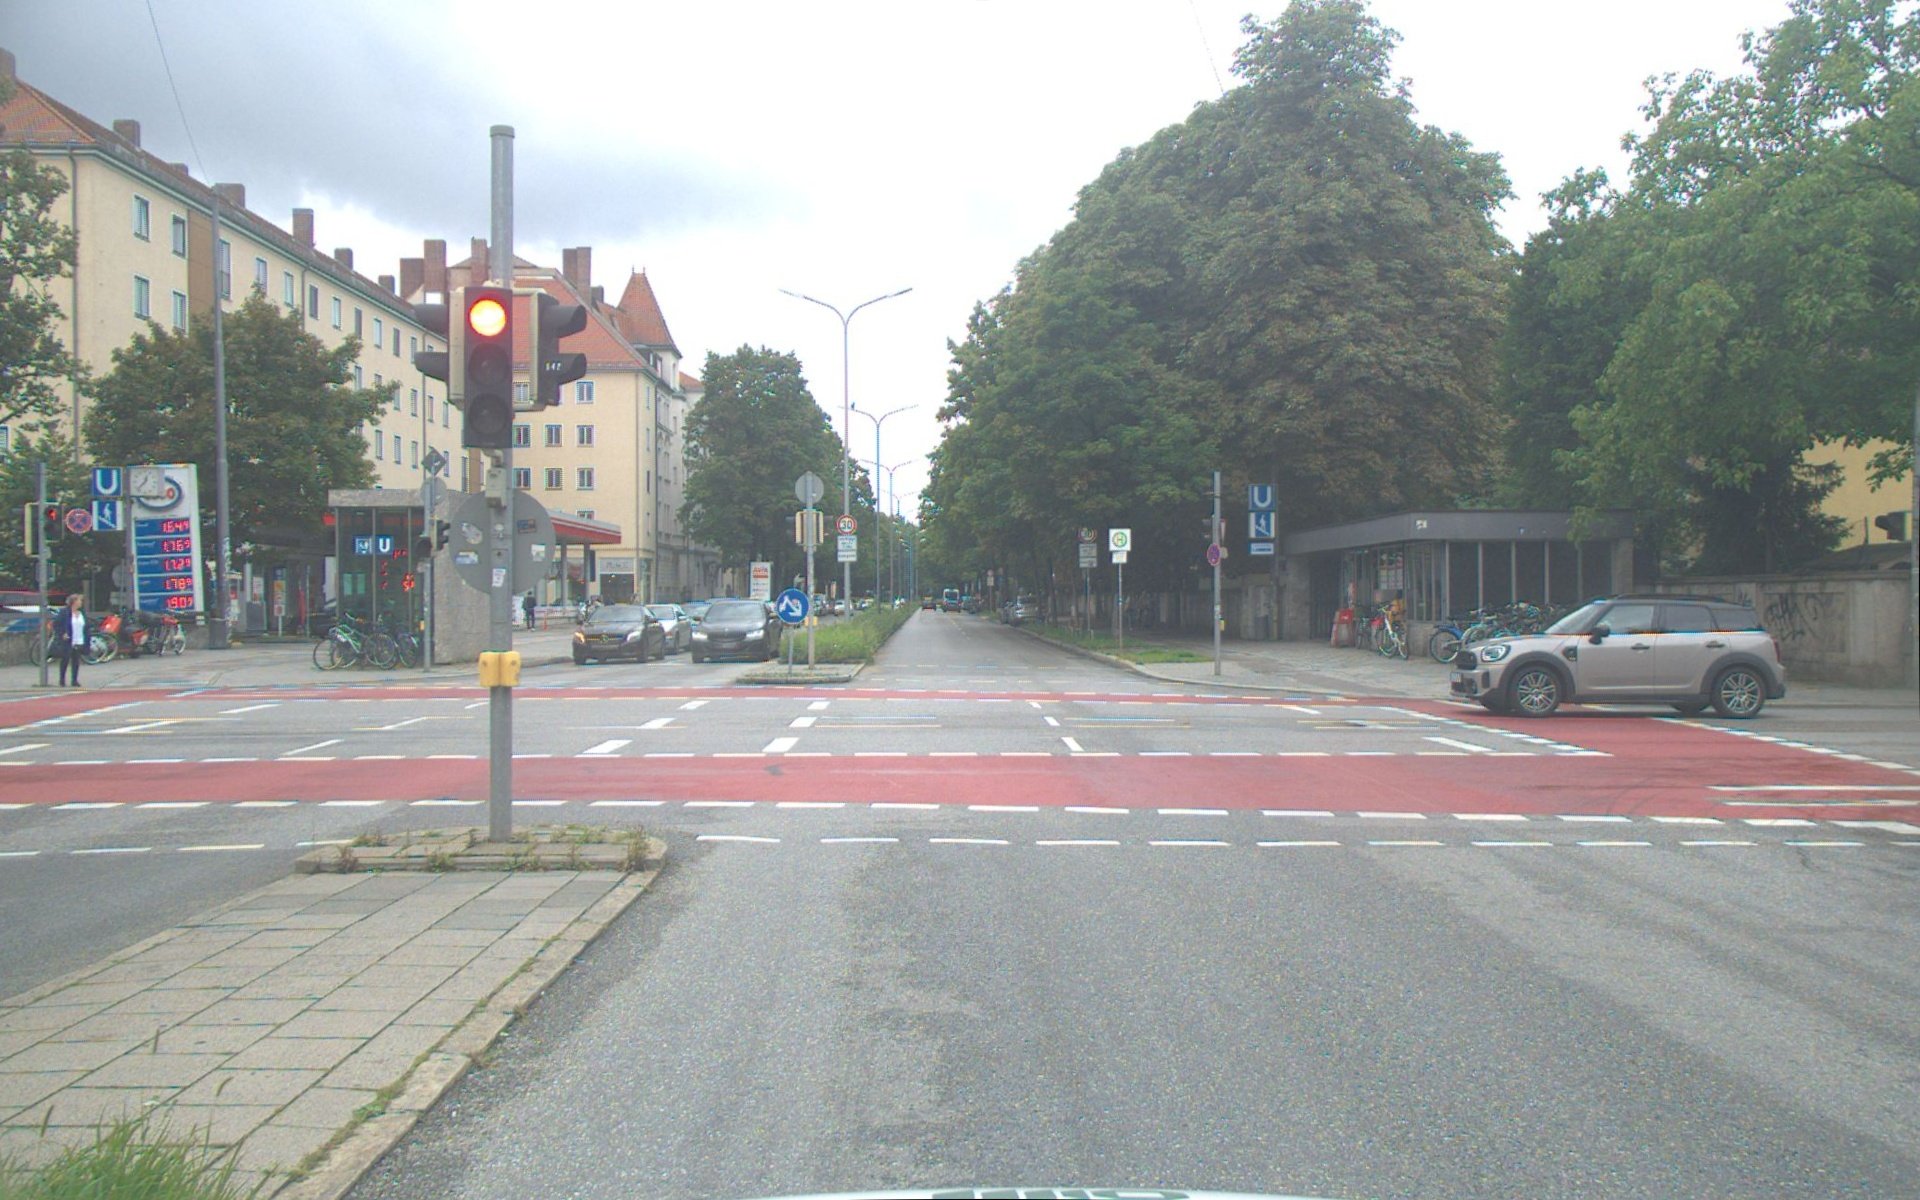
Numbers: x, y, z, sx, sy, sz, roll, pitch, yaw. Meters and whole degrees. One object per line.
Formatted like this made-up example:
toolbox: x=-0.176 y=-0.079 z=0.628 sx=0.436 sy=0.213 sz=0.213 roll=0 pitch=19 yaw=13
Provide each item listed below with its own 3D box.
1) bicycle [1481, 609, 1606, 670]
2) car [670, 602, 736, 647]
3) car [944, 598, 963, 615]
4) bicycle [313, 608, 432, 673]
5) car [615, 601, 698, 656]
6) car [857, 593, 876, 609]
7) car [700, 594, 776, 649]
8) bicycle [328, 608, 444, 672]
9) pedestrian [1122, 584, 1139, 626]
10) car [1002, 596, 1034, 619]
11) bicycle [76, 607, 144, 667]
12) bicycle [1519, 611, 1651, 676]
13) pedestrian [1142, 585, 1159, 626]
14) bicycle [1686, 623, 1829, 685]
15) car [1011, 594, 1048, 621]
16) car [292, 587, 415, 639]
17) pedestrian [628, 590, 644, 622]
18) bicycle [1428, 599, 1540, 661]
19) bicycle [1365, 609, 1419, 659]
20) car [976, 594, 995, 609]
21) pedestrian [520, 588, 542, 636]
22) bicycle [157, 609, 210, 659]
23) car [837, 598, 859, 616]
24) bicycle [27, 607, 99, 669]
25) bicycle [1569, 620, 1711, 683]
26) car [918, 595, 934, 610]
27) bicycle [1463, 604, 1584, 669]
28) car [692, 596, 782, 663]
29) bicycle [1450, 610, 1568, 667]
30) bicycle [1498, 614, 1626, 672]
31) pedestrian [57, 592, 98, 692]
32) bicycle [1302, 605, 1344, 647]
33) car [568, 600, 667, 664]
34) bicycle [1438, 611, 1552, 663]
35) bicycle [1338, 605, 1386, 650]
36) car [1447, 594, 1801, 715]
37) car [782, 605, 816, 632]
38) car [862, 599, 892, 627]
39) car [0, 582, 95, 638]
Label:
bicycle: x=10.847 y=0.737 z=30.785 sx=2.097 sy=1.105 sz=0.603 roll=0 pitch=0 yaw=7
car: x=-8.807 y=0.817 z=56.953 sx=1.724 sy=1.486 sz=3.999 roll=0 pitch=0 yaw=-1
car: x=-0.701 y=0.635 z=172.651 sx=1.884 sy=1.713 sz=3.999 roll=0 pitch=0 yaw=-1
bicycle: x=-12.298 y=0.835 z=34.660 sx=2.225 sy=1.327 sz=0.704 roll=0 pitch=0 yaw=0
car: x=-8.761 y=0.789 z=47.994 sx=1.724 sy=1.486 sz=3.999 roll=0 pitch=0 yaw=-1
car: x=-10.768 y=0.112 z=190.768 sx=1.912 sy=1.855 sz=3.999 roll=0 pitch=0 yaw=-1
car: x=-6.403 y=0.591 z=48.054 sx=1.724 sy=1.519 sz=3.999 roll=0 pitch=0 yaw=-1
bicycle: x=-12.288 y=0.852 z=35.440 sx=2.238 sy=1.327 sz=0.694 roll=0 pitch=0 yaw=0
pedestrian: x=7.146 y=0.207 z=69.313 sx=0.663 sy=1.712 sz=0.683 roll=0 pitch=0 yaw=5
car: x=3.470 y=0.437 z=99.763 sx=1.708 sy=1.387 sz=3.805 roll=0 pitch=0 yaw=-1
bicycle: x=-18.483 y=0.786 z=36.016 sx=0.596 sy=1.257 sz=2.183 roll=0 pitch=0 yaw=-7
bicycle: x=11.028 y=0.768 z=29.247 sx=2.097 sy=1.120 sz=0.603 roll=0 pitch=0 yaw=7
pedestrian: x=8.004 y=0.224 z=69.540 sx=0.663 sy=1.712 sz=0.683 roll=0 pitch=0 yaw=5
bicycle: x=13.550 y=0.918 z=28.139 sx=2.097 sy=1.032 sz=0.634 roll=0 pitch=0 yaw=7
car: x=3.750 y=0.401 z=89.742 sx=1.708 sy=1.387 sz=3.805 roll=0 pitch=0 yaw=-1
car: x=-22.469 y=0.465 z=61.373 sx=3.908 sy=1.870 sz=1.879 roll=0 pitch=0 yaw=-4
pedestrian: x=-17.372 y=0.326 z=88.729 sx=0.682 sy=1.666 sz=0.738 roll=0 pitch=0 yaw=-1
bicycle: x=10.670 y=0.603 z=33.721 sx=2.097 sy=1.240 sz=0.603 roll=0 pitch=0 yaw=7
bicycle: x=9.443 y=0.732 z=36.215 sx=0.545 sy=1.032 sz=2.014 roll=0 pitch=0 yaw=-3
car: x=2.432 y=0.150 z=159.369 sx=1.708 sy=1.452 sz=3.898 roll=0 pitch=0 yaw=-1
pedestrian: x=-18.795 y=0.532 z=72.517 sx=0.715 sy=2.049 sz=0.834 roll=1 pitch=-1 yaw=-1
bicycle: x=-18.838 y=0.808 z=40.162 sx=0.596 sy=1.165 sz=1.962 roll=0 pitch=0 yaw=-7
car: x=-9.838 y=0.608 z=145.721 sx=1.724 sy=1.486 sz=3.999 roll=0 pitch=0 yaw=-1
bicycle: x=-19.054 y=0.789 z=35.184 sx=0.596 sy=1.257 sz=2.183 roll=0 pitch=0 yaw=-7
bicycle: x=11.407 y=0.865 z=27.794 sx=2.097 sy=1.032 sz=0.634 roll=0 pitch=0 yaw=7
car: x=-4.059 y=0.279 z=196.464 sx=1.819 sy=1.713 sz=3.999 roll=0 pitch=0 yaw=-1
bicycle: x=10.692 y=0.689 z=31.422 sx=2.097 sy=1.199 sz=0.603 roll=0 pitch=0 yaw=7
car: x=-5.361 y=0.676 z=40.231 sx=1.724 sy=1.519 sz=3.999 roll=0 pitch=0 yaw=-1
bicycle: x=10.649 y=0.751 z=32.123 sx=2.097 sy=1.080 sz=0.603 roll=0 pitch=0 yaw=7
bicycle: x=10.888 y=0.774 z=29.959 sx=2.097 sy=1.032 sz=0.603 roll=0 pitch=0 yaw=7
pedestrian: x=-15.500 y=0.725 z=29.067 sx=0.525 sy=1.725 sz=0.574 roll=0 pitch=0 yaw=-17
bicycle: x=9.254 y=0.649 z=42.239 sx=0.545 sy=1.032 sz=2.014 roll=0 pitch=0 yaw=-3
car: x=-8.512 y=0.759 z=41.374 sx=1.724 sy=1.486 sz=3.999 roll=0 pitch=0 yaw=-1
bicycle: x=10.661 y=0.737 z=33.005 sx=2.097 sy=1.032 sz=0.603 roll=0 pitch=0 yaw=7
bicycle: x=9.445 y=0.631 z=38.948 sx=0.545 sy=1.032 sz=2.014 roll=0 pitch=0 yaw=-3
car: x=8.818 y=0.703 z=22.191 sx=4.082 sy=1.540 sz=1.695 roll=0 pitch=0 yaw=1
car: x=-9.542 y=1.076 z=98.445 sx=1.724 sy=1.519 sz=3.999 roll=0 pitch=0 yaw=-1
car: x=-4.273 y=0.652 z=85.319 sx=1.438 sy=1.423 sz=3.699 roll=0 pitch=0 yaw=-1
car: x=-28.164 y=0.299 z=49.225 sx=3.874 sy=1.637 sz=1.816 roll=0 pitch=0 yaw=-1
